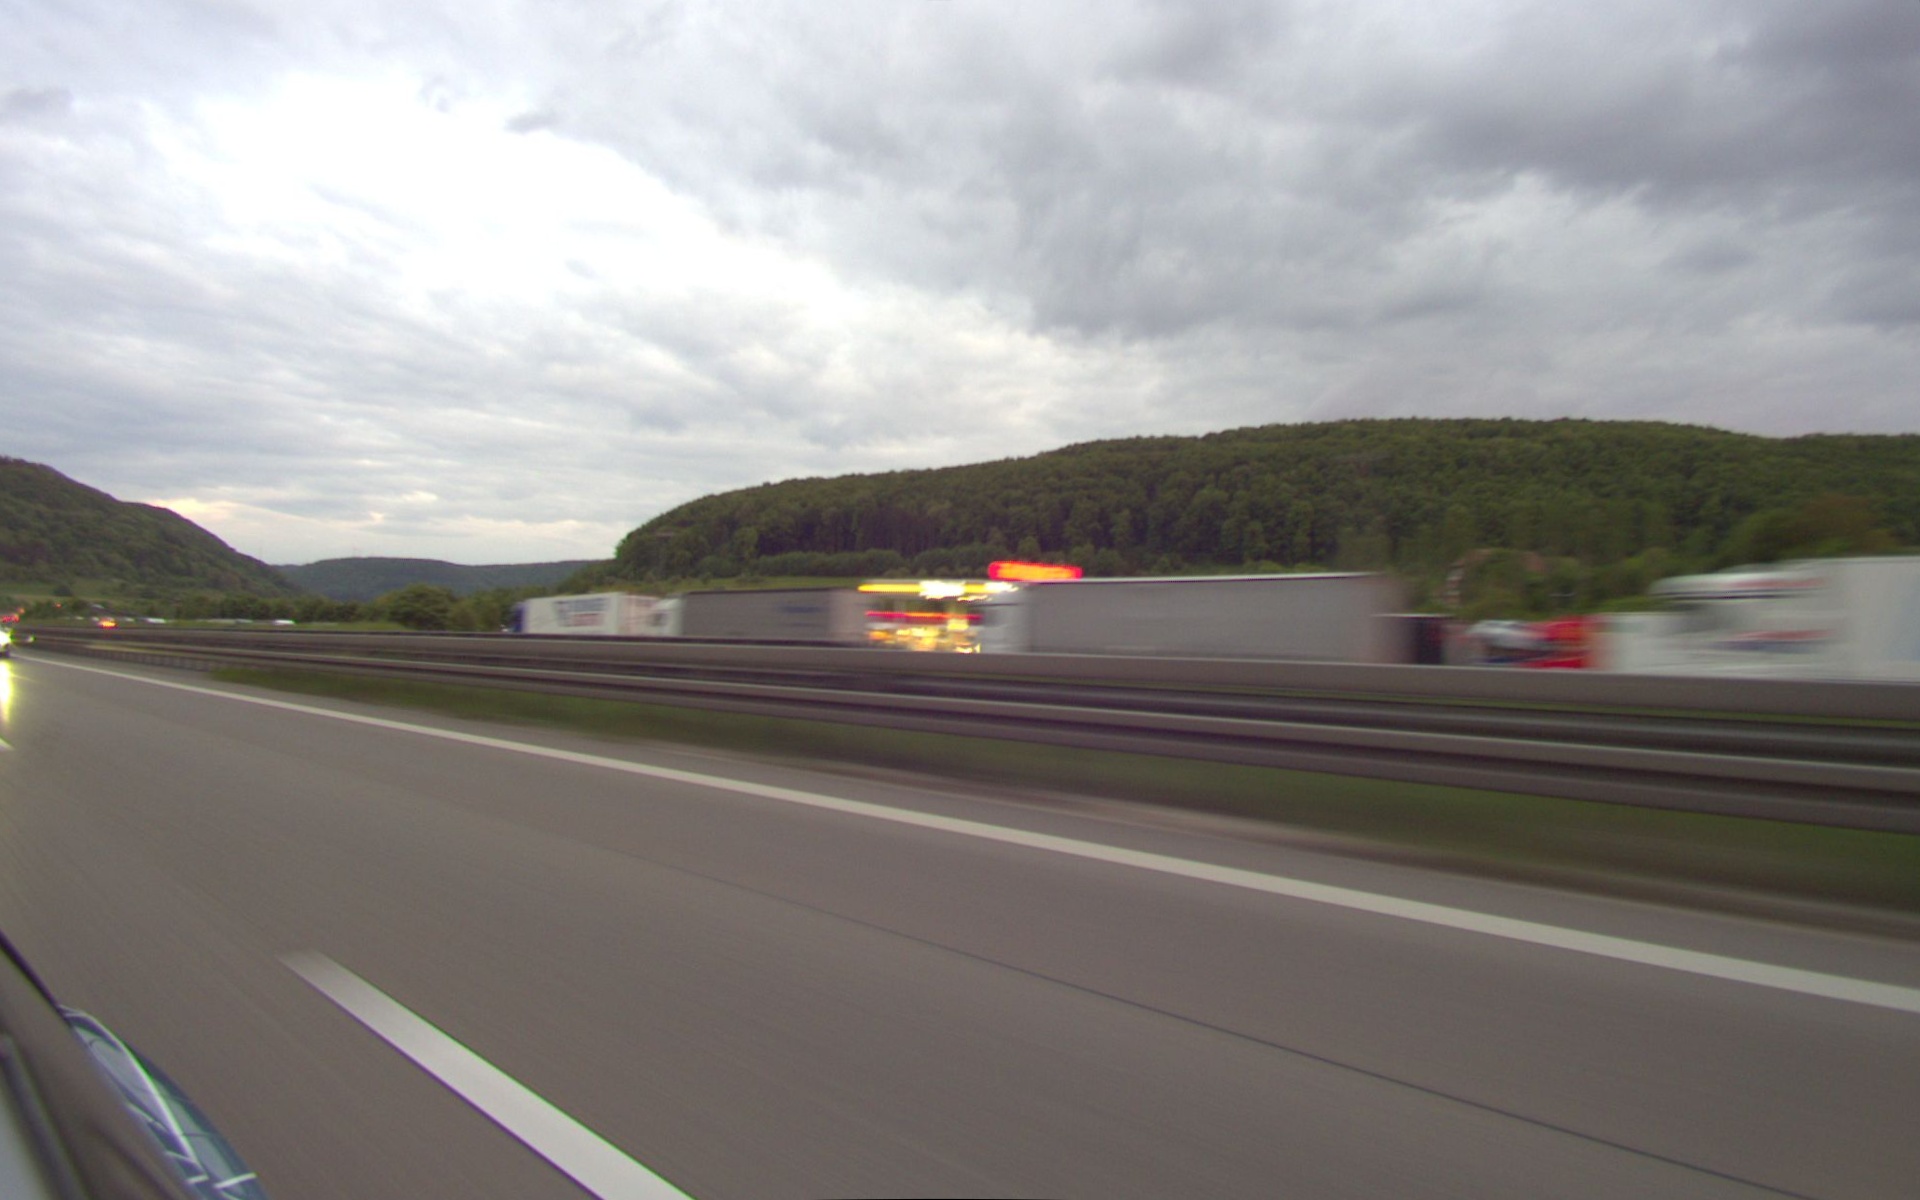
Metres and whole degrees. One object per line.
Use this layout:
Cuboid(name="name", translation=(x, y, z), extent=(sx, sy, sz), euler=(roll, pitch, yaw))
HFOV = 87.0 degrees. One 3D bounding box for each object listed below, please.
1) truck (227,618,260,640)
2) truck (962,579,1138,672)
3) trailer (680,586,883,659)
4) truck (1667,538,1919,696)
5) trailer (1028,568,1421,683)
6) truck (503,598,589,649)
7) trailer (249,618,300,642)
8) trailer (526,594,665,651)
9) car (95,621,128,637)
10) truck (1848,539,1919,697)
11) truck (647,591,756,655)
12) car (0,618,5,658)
Cuboid(name="truck", translation=(-103.973, 4.136, 146.840), extent=(5.303, 3.112, 2.836), euler=(-1, -2, 42))
Cuboid(name="truck", translation=(3.532, 1.013, 40.905), extent=(6.725, 3.451, 2.842), euler=(-1, -1, 43))
Cuboid(name="trailer", translation=(-9.738, 1.184, 53.083), extent=(13.568, 3.451, 2.842), euler=(-1, -1, 43))
Cuboid(name="truck", translation=(20.950, 0.407, 23.997), extent=(6.716, 3.451, 2.846), euler=(-1, -1, 38))
Cuboid(name="trailer", translation=(8.729, 0.892, 36.130), extent=(13.847, 3.451, 2.842), euler=(-1, -1, 42))
Cuboid(name="truck", translation=(-29.113, 1.633, 70.999), extent=(7.174, 3.401, 2.842), euler=(-1, -1, 43))
Cuboid(name="trailer", translation=(-92.544, 3.952, 136.542), extent=(11.151, 3.112, 2.838), euler=(-1, -2, 40))
Cuboid(name="trailer", translation=(-24.116, 1.482, 66.329), extent=(13.224, 3.451, 2.842), euler=(-1, -1, 43))
Cuboid(name="car", translation=(-87.945, 3.017, 104.854), extent=(4.739, 1.605, 1.972), euler=(-1, -1, 42))
Cuboid(name="truck", translation=(26.577, 0.294, 19.645), extent=(13.767, 3.451, 2.847), euler=(-1, -1, 37))
Cuboid(name="truck", translation=(-14.850, 1.316, 57.786), extent=(6.725, 3.451, 2.842), euler=(-1, -1, 42))
Cuboid(name="car", translation=(-38.694, 1.499, 39.365), extent=(5.034, 1.512, 1.771), euler=(-1, -1, 41))
